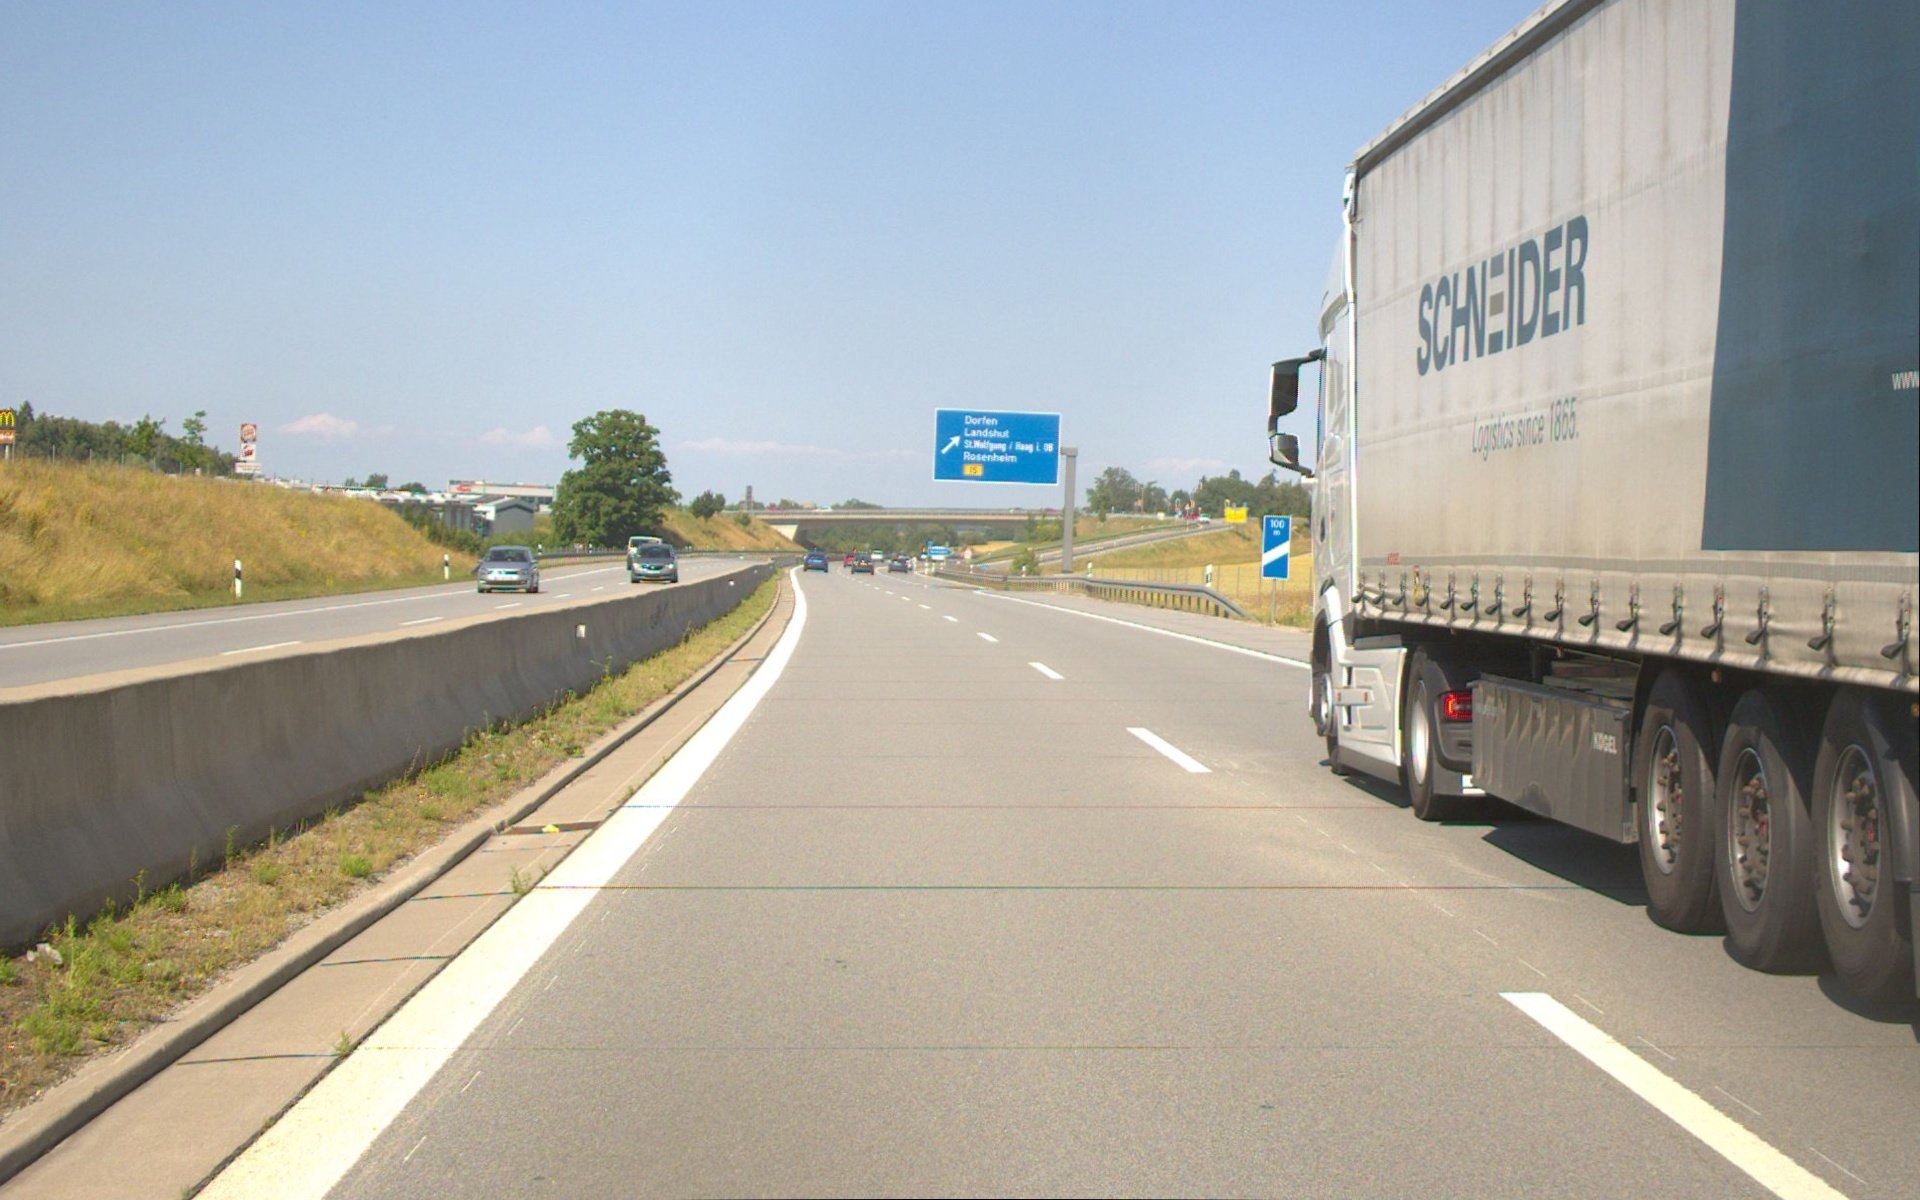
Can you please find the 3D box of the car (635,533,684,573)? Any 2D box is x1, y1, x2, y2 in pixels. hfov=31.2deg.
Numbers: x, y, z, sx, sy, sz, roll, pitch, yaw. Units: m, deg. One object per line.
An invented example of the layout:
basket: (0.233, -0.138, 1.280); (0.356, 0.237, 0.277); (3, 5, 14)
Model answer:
car: (-12.149, -1.901, 138.916); (1.879, 1.570, 4.566); (-1, 1, -6)

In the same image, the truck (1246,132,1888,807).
truck: (3.898, -0.843, 23.675); (3.082, 4.000, 6.190); (-1, 1, -2)

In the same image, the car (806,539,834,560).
car: (-10.641, -3.826, 260.771); (1.993, 1.546, 4.000); (-1, 1, -1)

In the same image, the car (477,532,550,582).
car: (-13.821, -1.337, 106.590); (1.879, 1.497, 4.566); (-1, 1, -3)

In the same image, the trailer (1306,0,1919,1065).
trailer: (4.133, -0.943, 15.609); (3.176, 4.279, 15.461); (0, 1, -1)
